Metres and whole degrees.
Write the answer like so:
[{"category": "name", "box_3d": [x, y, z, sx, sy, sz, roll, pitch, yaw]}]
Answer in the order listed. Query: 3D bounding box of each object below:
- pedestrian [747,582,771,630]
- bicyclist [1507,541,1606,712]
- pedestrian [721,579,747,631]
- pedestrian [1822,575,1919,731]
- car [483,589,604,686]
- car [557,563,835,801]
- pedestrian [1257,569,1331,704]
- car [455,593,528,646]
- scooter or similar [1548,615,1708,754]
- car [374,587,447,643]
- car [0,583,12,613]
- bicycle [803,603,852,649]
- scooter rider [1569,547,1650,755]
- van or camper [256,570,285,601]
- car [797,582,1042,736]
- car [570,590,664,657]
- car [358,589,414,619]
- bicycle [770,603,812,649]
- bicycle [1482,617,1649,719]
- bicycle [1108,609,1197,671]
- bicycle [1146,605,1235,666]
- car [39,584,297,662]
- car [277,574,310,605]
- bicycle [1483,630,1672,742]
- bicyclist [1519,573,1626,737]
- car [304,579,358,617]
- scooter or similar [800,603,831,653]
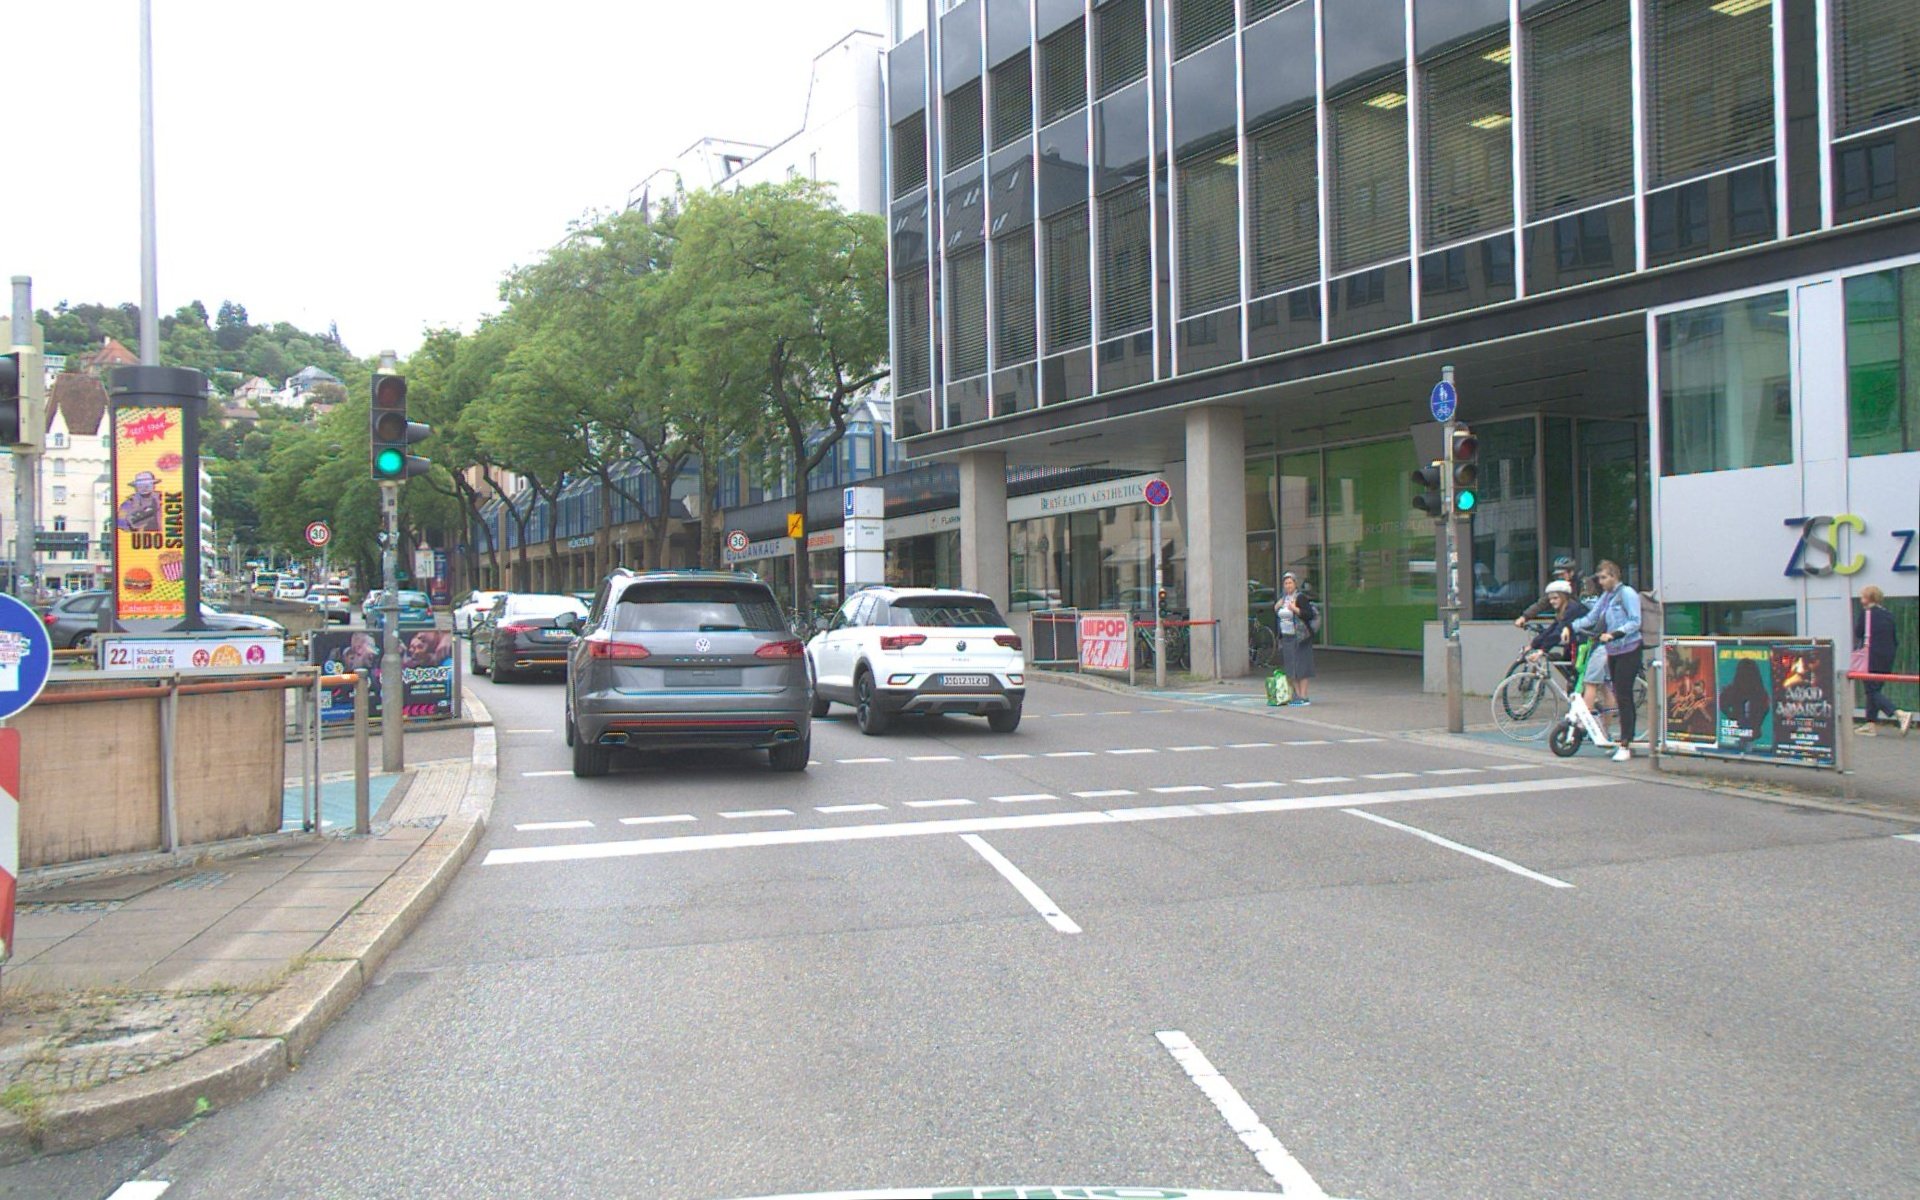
[{"category": "pedestrian", "box_3d": [-7.127, 0.216, 58.607, 0.589, 1.657, 0.749, -1, 1, -31]}, {"category": "bicyclist", "box_3d": [6.773, 0.280, 18.794, 0.799, 1.877, 0.672, -2, 2, -18]}, {"category": "pedestrian", "box_3d": [-7.952, 0.180, 58.183, 0.589, 1.784, 0.931, -1, 1, -31]}, {"category": "pedestrian", "box_3d": [9.022, 0.500, 16.182, 0.597, 1.468, 0.830, -2, 0, -30]}, {"category": "car", "box_3d": [-7.043, 0.574, 27.694, 1.804, 1.420, 4.129, 0, 1, -16]}, {"category": "car", "box_3d": [-2.481, 0.585, 14.607, 1.938, 1.725, 4.207, -2, 1, -15]}, {"category": "pedestrian", "box_3d": [4.431, 0.481, 21.975, 0.519, 1.741, 0.745, -2, -1, -31]}, {"category": "car", "box_3d": [-14.701, 0.581, 51.782, 1.806, 1.544, 3.742, -2, 1, -22]}, {"category": "scooter or similar", "box_3d": [6.042, 0.757, 14.981, 1.292, 1.196, 0.593, -2, 0, 23]}, {"category": "car", "box_3d": [-16.216, 0.423, 48.750, 1.806, 1.544, 3.742, -2, 1, -22]}, {"category": "car", "box_3d": [-51.245, -0.096, 87.262, 1.895, 1.553, 4.502, -1, 0, -27]}, {"category": "bicycle", "box_3d": [-3.464, 0.662, 43.068, 0.484, 1.152, 1.867, 0, 0, -31]}, {"category": "scooter rider", "box_3d": [5.907, 0.457, 15.031, 0.628, 1.840, 0.593, -2, 0, 23]}, {"category": "van or camper", "box_3d": [-73.133, -1.533, 175.291, 2.594, 3.234, 5.757, -1, 1, -25]}, {"category": "car", "box_3d": [-0.580, 0.582, 18.950, 1.770, 1.572, 3.915, 0, 0, -18]}, {"category": "car", "box_3d": [-8.364, 0.533, 40.087, 1.805, 1.457, 4.126, 0, 1, -18]}, {"category": "car", "box_3d": [-29.161, 0.195, 83.917, 2.033, 1.443, 4.293, -2, 1, -28]}, {"category": "bicycle", "box_3d": [-4.363, 0.669, 42.721, 0.483, 1.152, 1.828, 0, 0, -26]}, {"category": "bicycle", "box_3d": [6.896, 0.759, 18.851, 1.734, 1.024, 0.677, -2, 2, -18]}, {"category": "bicycle", "box_3d": [3.434, 0.710, 29.600, 1.461, 1.066, 0.709, 0, 0, 44]}, {"category": "bicycle", "box_3d": [4.169, 0.621, 29.960, 1.461, 1.066, 0.709, 0, 0, 44]}, {"category": "car", "box_3d": [-16.004, 0.443, 33.683, 4.479, 1.484, 1.872, -1, 0, -18]}, {"category": "car", "box_3d": [-43.831, -0.671, 108.723, 1.808, 1.907, 4.834, -2, 1, -24]}, {"category": "bicycle", "box_3d": [6.079, 0.835, 16.326, 1.636, 1.045, 0.579, -2, 0, 36]}, {"category": "bicyclist", "box_3d": [6.051, 0.534, 16.339, 0.829, 1.576, 0.563, -2, 0, 36]}, {"category": "car", "box_3d": [-27.218, -0.086, 71.524, 1.810, 1.594, 3.735, -2, 1, -26]}, {"category": "scooter or similar", "box_3d": [-3.722, 0.706, 42.568, 0.303, 1.273, 0.983, 0, 0, -38]}]
